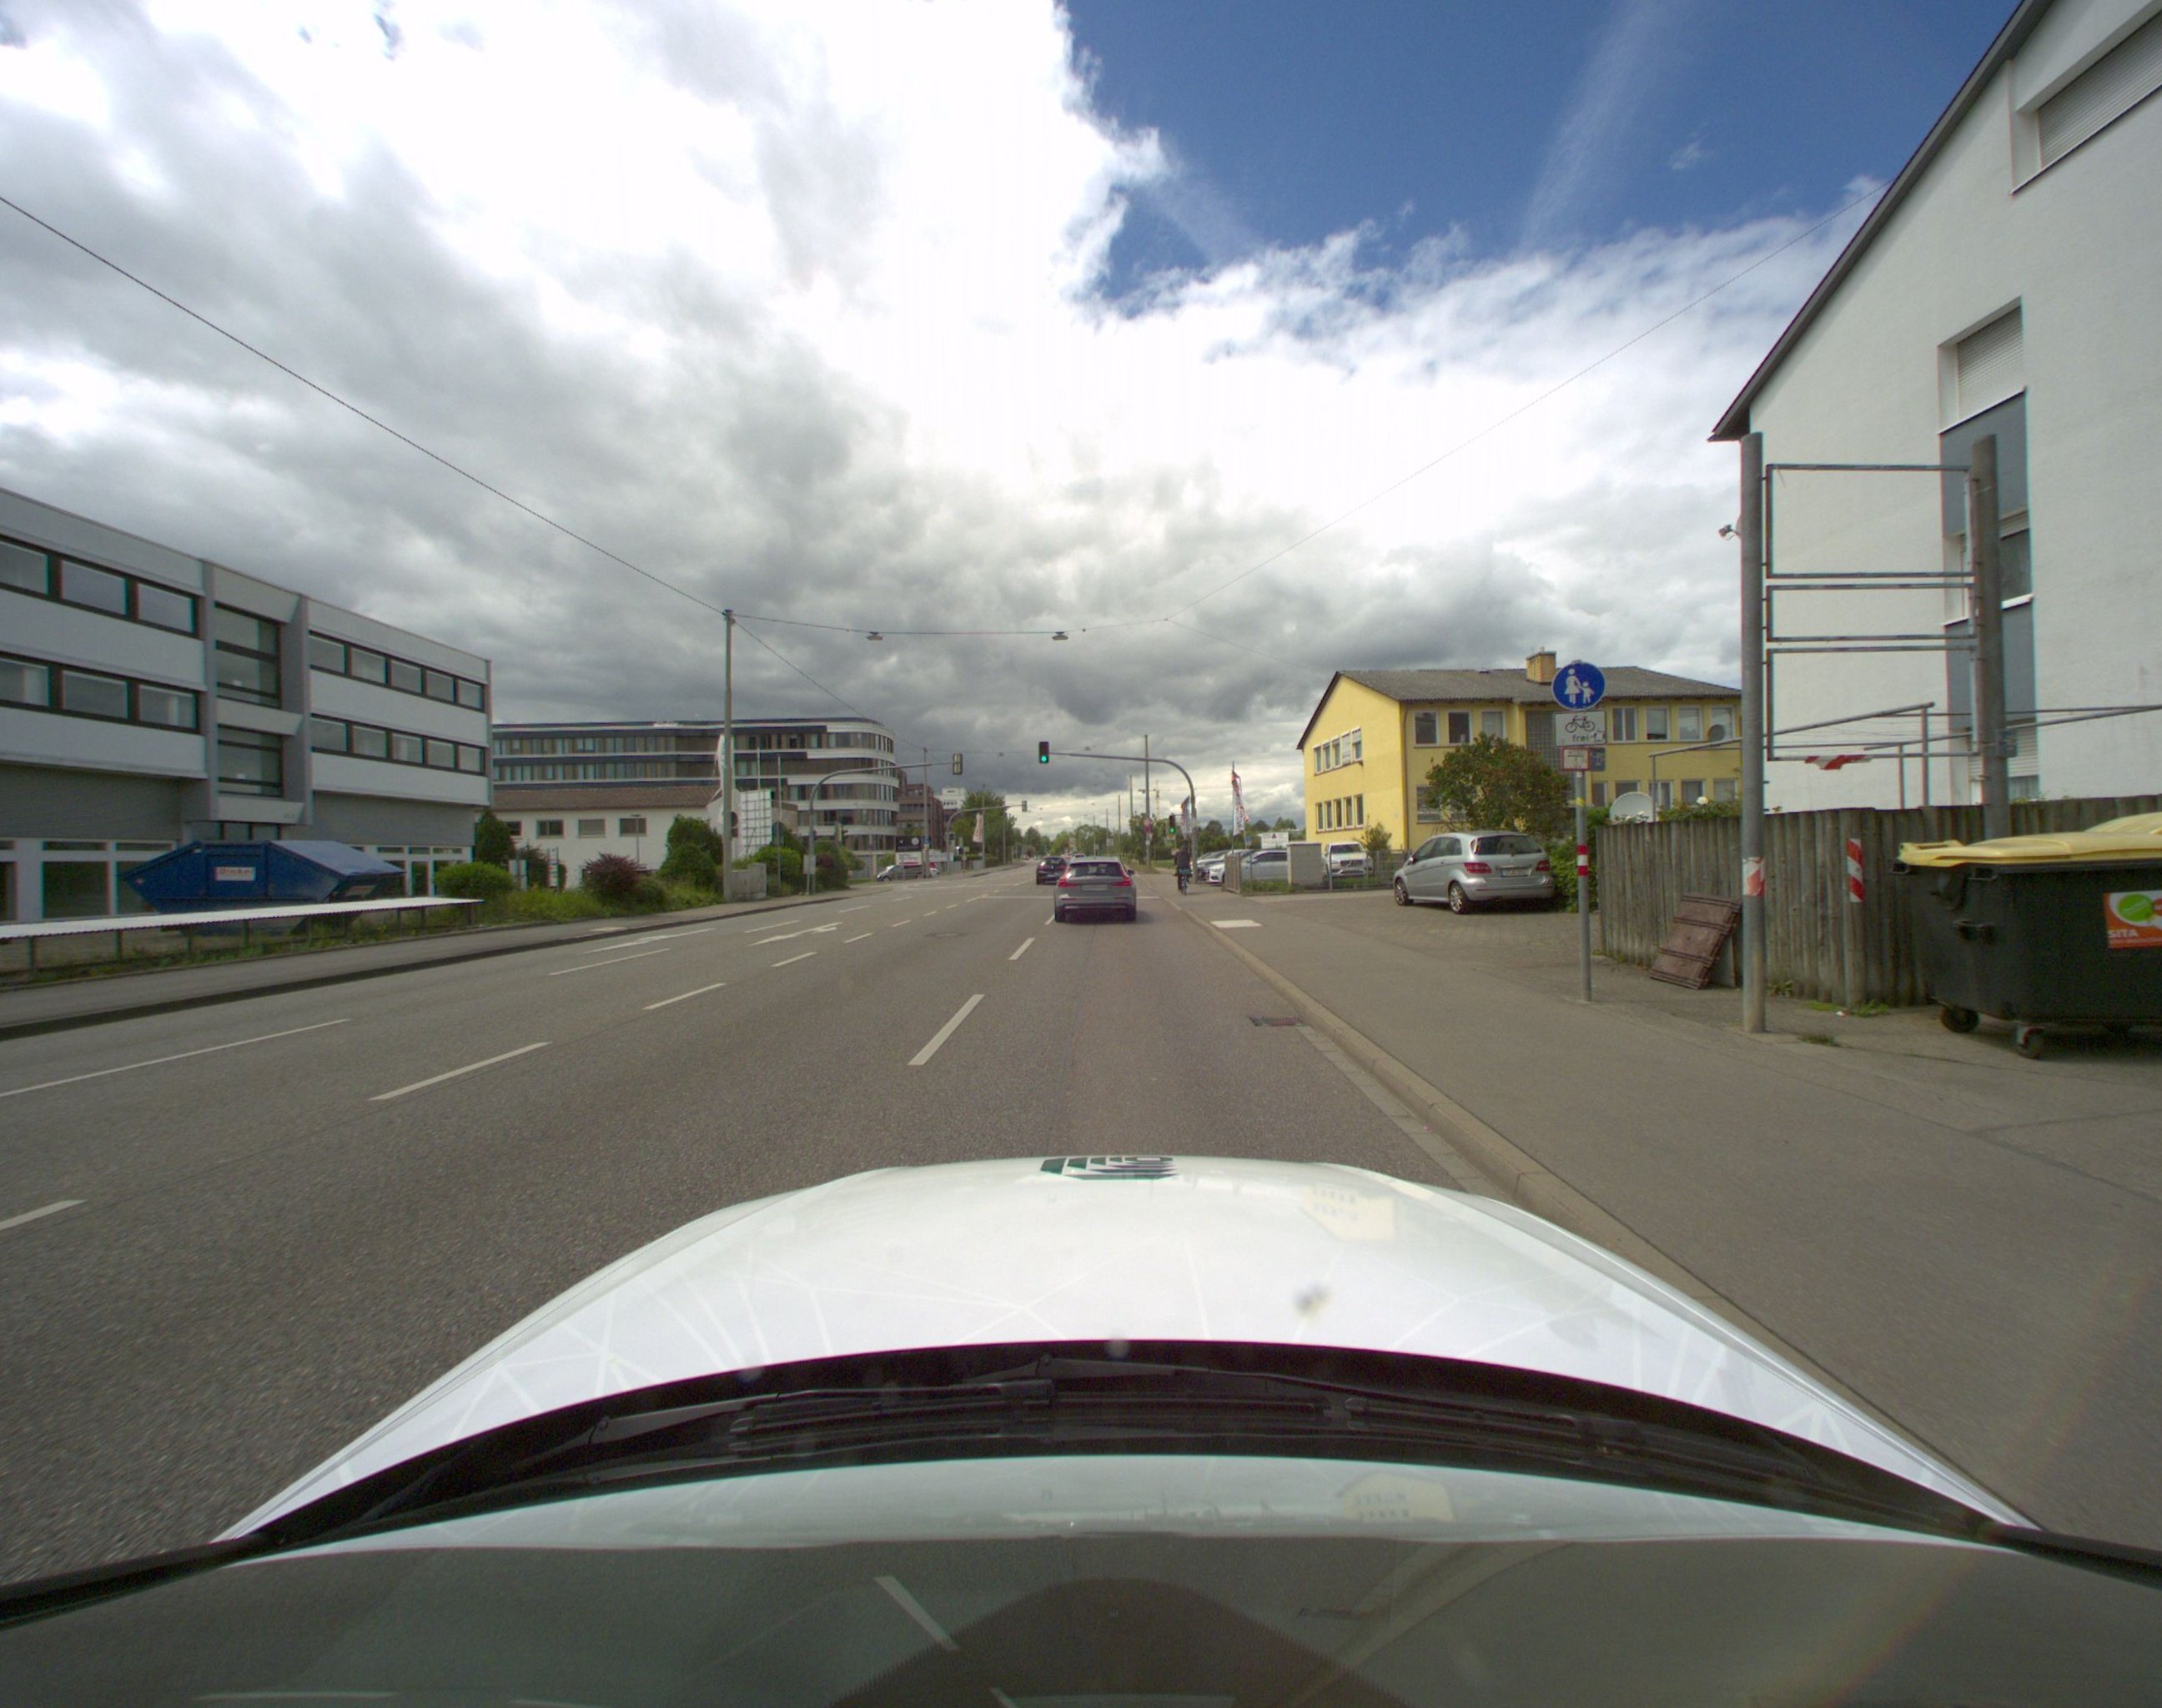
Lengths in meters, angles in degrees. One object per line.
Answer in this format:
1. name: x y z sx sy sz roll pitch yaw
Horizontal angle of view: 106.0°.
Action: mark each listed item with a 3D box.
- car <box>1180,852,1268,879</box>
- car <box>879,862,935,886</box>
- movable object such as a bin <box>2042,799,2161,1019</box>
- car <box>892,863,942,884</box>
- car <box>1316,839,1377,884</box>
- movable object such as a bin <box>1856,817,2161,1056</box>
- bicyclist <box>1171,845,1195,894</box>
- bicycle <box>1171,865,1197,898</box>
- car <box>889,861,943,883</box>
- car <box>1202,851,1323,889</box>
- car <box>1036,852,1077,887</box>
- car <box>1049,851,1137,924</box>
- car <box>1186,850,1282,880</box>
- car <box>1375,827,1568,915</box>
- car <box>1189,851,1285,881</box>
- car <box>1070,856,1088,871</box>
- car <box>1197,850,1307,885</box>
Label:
1. car: 7.955 0.626 45.626 4.658 1.493 2.016 0 0 2
2. car: -13.928 1.573 65.517 4.088 1.398 1.904 -7 1 -6
3. movable object such as a bin: 7.797 0.347 5.567 1.306 1.435 1.259 -3 -2 38
4. car: -14.696 1.708 73.200 3.976 1.369 1.847 -7 -1 -1
5. car: 11.896 0.346 36.771 1.963 1.821 5.045 -2 -1 11
6. movable object such as a bin: 6.264 0.485 5.294 1.308 1.361 1.257 -2 -2 17
7. bicyclist: 3.628 0.552 29.069 0.635 1.675 0.890 -5 -1 1
8. bicycle: 3.660 0.948 28.982 0.635 1.063 1.978 -5 0 2
9. car: -14.263 1.591 70.657 4.217 1.387 1.981 -7 -1 -5
10. car: 7.582 0.640 34.315 4.680 1.493 2.046 -1 0 0
11. car: -1.215 0.793 41.980 1.988 1.717 3.998 1 -1 -1
12. car: 0.362 0.750 19.512 1.888 1.554 4.002 0 -1 3
13. car: 8.010 0.558 42.942 4.781 1.480 2.033 0 0 2
14. car: 7.935 0.316 17.091 1.869 1.545 4.521 -2 0 0
15. car: 7.621 0.585 40.100 4.355 1.404 1.988 0 0 -1
16. car: -0.258 1.120 93.679 1.987 1.695 4.000 1 -1 1
17. car: 7.729 0.613 37.191 4.642 1.493 2.035 -1 0 1
